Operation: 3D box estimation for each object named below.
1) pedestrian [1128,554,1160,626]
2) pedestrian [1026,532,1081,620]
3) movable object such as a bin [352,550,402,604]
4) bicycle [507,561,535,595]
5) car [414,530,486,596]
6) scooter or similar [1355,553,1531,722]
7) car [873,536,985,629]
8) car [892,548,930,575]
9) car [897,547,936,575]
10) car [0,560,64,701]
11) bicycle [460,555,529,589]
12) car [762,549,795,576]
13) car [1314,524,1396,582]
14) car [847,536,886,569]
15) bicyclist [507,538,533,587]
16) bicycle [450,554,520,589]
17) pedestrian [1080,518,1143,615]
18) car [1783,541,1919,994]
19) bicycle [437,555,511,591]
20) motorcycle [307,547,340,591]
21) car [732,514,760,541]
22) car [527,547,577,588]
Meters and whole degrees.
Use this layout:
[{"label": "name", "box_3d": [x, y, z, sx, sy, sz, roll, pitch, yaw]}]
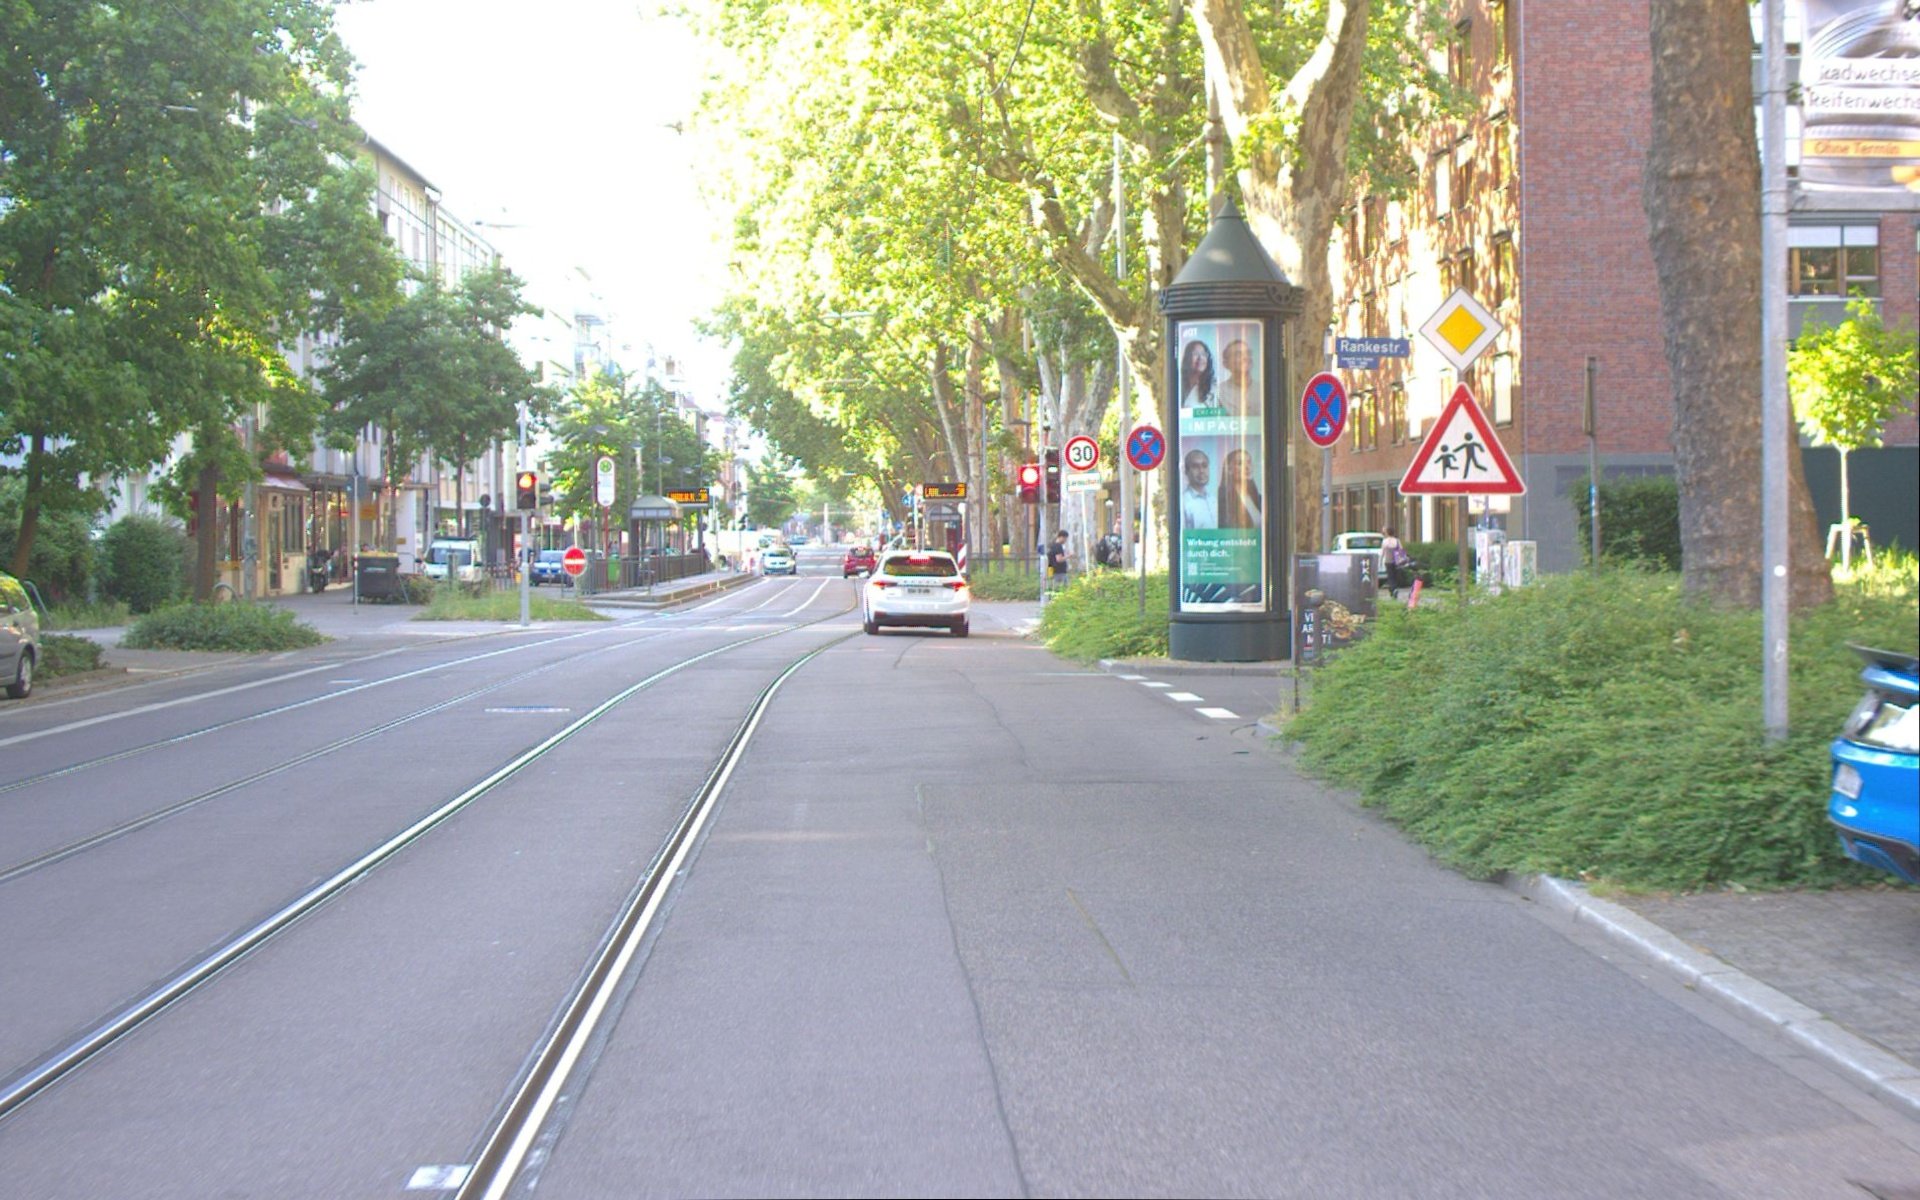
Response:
[{"label": "pedestrian", "box_3d": [4.283, -0.236, 80.143, 0.652, 1.663, 0.738, -1, 1, -2]}, {"label": "pedestrian", "box_3d": [1.954, -0.497, 71.729, 0.994, 1.805, 0.864, -1, 1, -7]}, {"label": "movable object such as a bin", "box_3d": [-15.266, -0.615, 90.033, 1.169, 1.344, 0.783, 3, 0, -6]}, {"label": "bicycle", "box_3d": [-13.238, -0.669, 103.646, 0.641, 0.983, 2.101, -2, 1, -2]}, {"label": "car", "box_3d": [-15.300, -1.128, 103.251, 1.688, 1.933, 4.000, -1, 1, -2]}, {"label": "scooter or similar", "box_3d": [3.655, 0.279, 26.065, 1.208, 1.235, 0.570, -1, 0, -3]}, {"label": "car", "box_3d": [-0.566, -0.323, 58.407, 1.788, 1.508, 4.000, -1, 1, -2]}, {"label": "car", "box_3d": [-2.712, -2.150, 189.867, 1.993, 1.448, 4.000, -1, 1, -2]}, {"label": "car", "box_3d": [-2.360, -2.082, 184.788, 1.993, 1.448, 4.000, -1, 1, -2]}, {"label": "car", "box_3d": [-11.512, 0.342, 38.442, 1.699, 1.545, 4.536, 0, 1, 1]}, {"label": "bicycle", "box_3d": [-15.985, -0.974, 118.165, 2.253, 1.070, 0.636, 3, 1, 0]}, {"label": "car", "box_3d": [-9.890, -2.031, 187.525, 1.693, 1.414, 4.000, -1, 1, -2]}, {"label": "car", "box_3d": [10.543, -1.256, 91.842, 1.600, 1.490, 3.417, -1, 1, -3]}, {"label": "car", "box_3d": [-4.426, -2.256, 162.351, 1.788, 1.508, 4.000, -1, 1, -2]}, {"label": "bicyclist", "box_3d": [-13.262, -1.142, 103.647, 0.641, 1.450, 0.837, -2, 1, -2]}, {"label": "bicycle", "box_3d": [-16.072, -0.962, 116.332, 2.253, 1.070, 0.636, 3, 1, 0]}, {"label": "pedestrian", "box_3d": [3.031, -0.665, 68.782, 0.982, 1.857, 1.016, -4, 1, -7]}, {"label": "car", "box_3d": [5.363, 0.538, 12.454, 4.404, 1.537, 1.817, -1, 1, 5]}, {"label": "bicycle", "box_3d": [-15.676, -0.869, 110.896, 2.253, 1.070, 0.636, 3, 1, 0]}, {"label": "motorcycle", "box_3d": [-18.904, -0.929, 102.116, 0.599, 1.306, 2.222, -1, 1, -2]}, {"label": "car", "box_3d": [-15.593, -5.270, 250.576, 1.866, 1.886, 4.000, -1, 1, -2]}, {"label": "car", "box_3d": [-16.102, -1.313, 135.858, 1.593, 1.543, 4.000, 2, 1, -2]}]
